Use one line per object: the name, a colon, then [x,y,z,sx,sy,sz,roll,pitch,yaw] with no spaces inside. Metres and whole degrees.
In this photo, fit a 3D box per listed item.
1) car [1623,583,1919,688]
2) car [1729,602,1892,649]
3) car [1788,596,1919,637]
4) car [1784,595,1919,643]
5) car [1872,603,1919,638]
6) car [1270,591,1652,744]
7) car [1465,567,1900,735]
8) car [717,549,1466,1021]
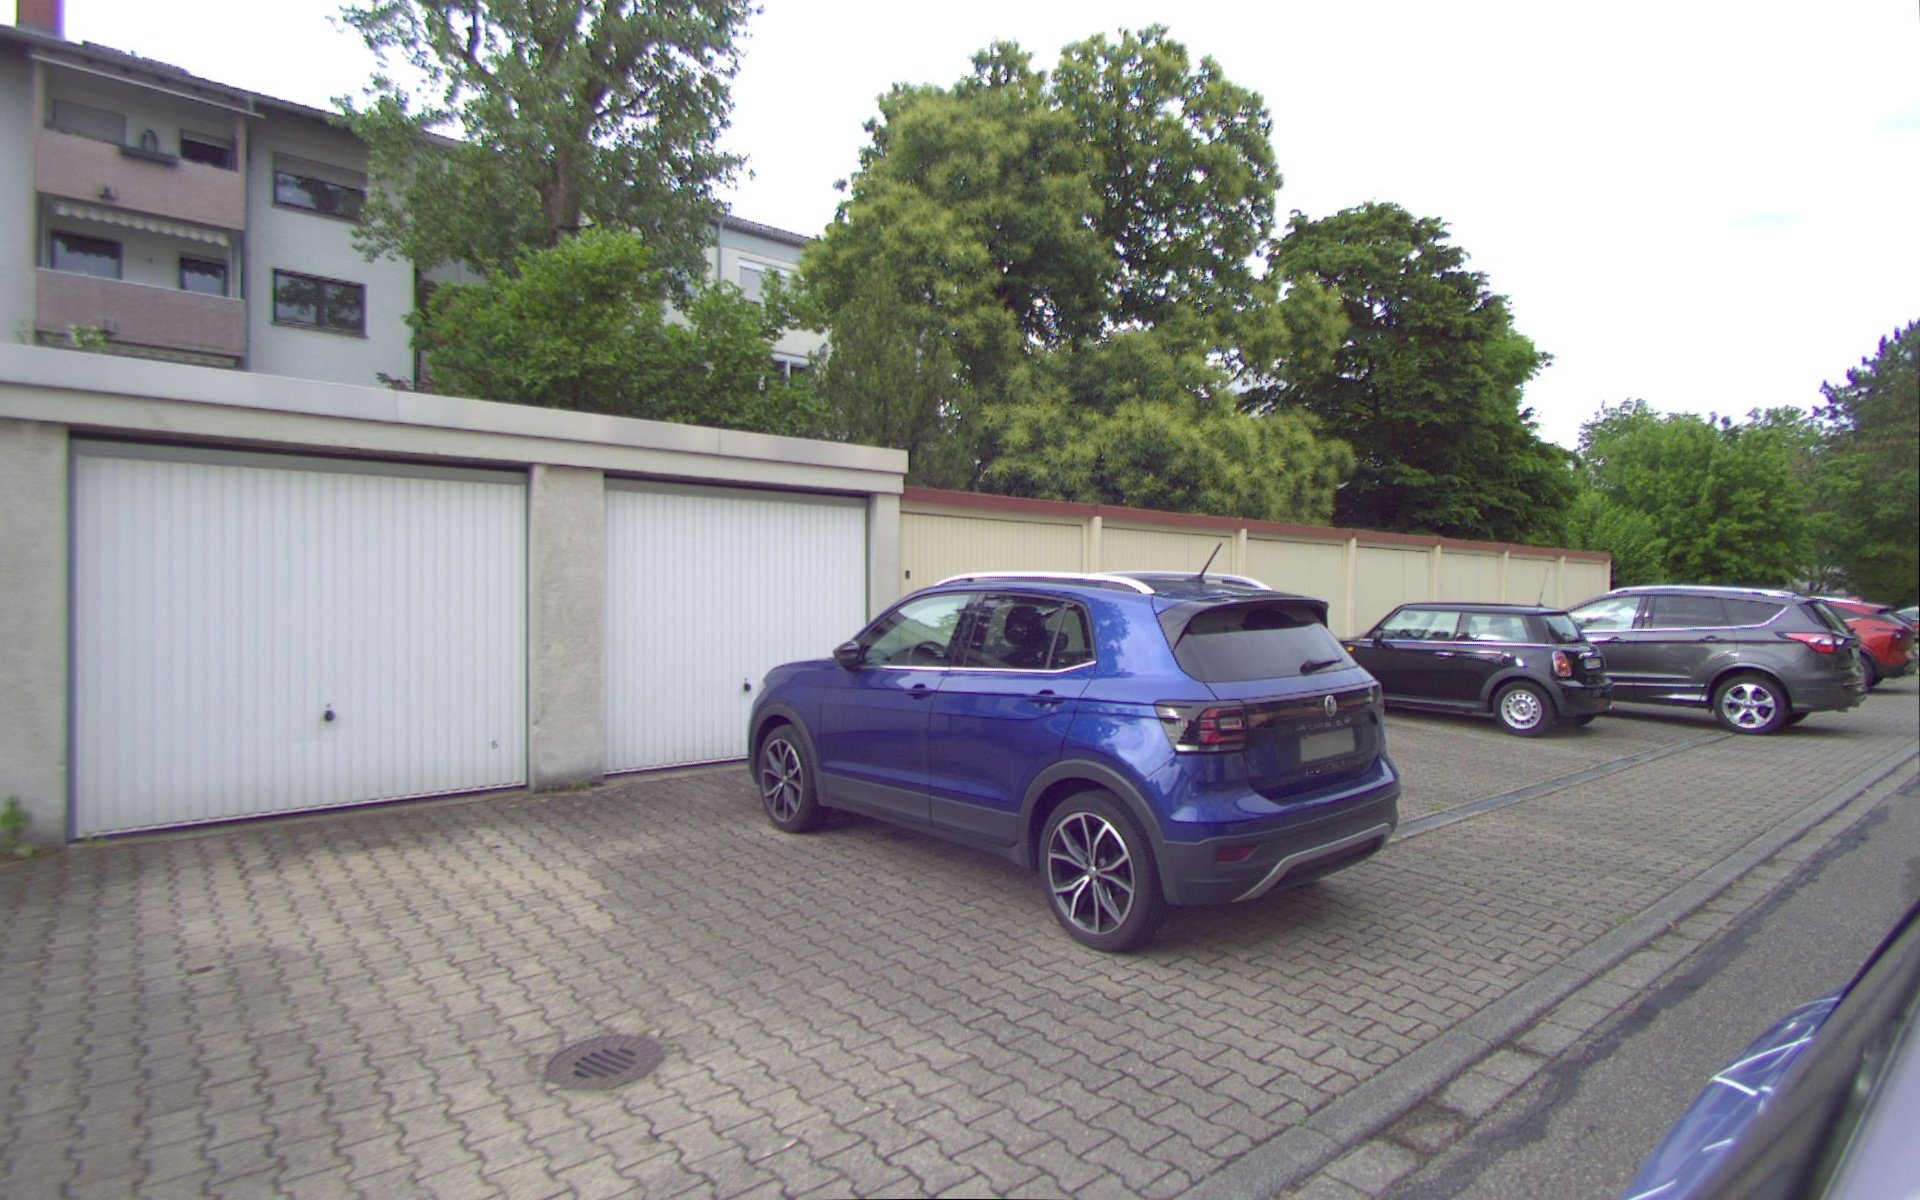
car: [15.101,0.562,18.790,1.901,1.605,4.297,1,2,-41]
car: [28.147,0.801,33.573,1.702,1.453,3.970,0,-1,-42]
car: [39.087,0.679,44.299,1.756,1.503,4.104,1,3,-39]
car: [33.877,0.688,37.946,1.756,1.503,4.335,1,3,-39]
car: [42.434,0.885,43.899,1.756,1.504,4.100,0,-1,-41]
car: [6.057,0.688,12.552,1.965,1.464,3.765,1,2,-40]
car: [9.140,0.496,13.098,1.965,1.749,4.204,1,2,-40]
car: [0.430,0.604,5.854,1.965,1.724,3.995,1,2,-40]
